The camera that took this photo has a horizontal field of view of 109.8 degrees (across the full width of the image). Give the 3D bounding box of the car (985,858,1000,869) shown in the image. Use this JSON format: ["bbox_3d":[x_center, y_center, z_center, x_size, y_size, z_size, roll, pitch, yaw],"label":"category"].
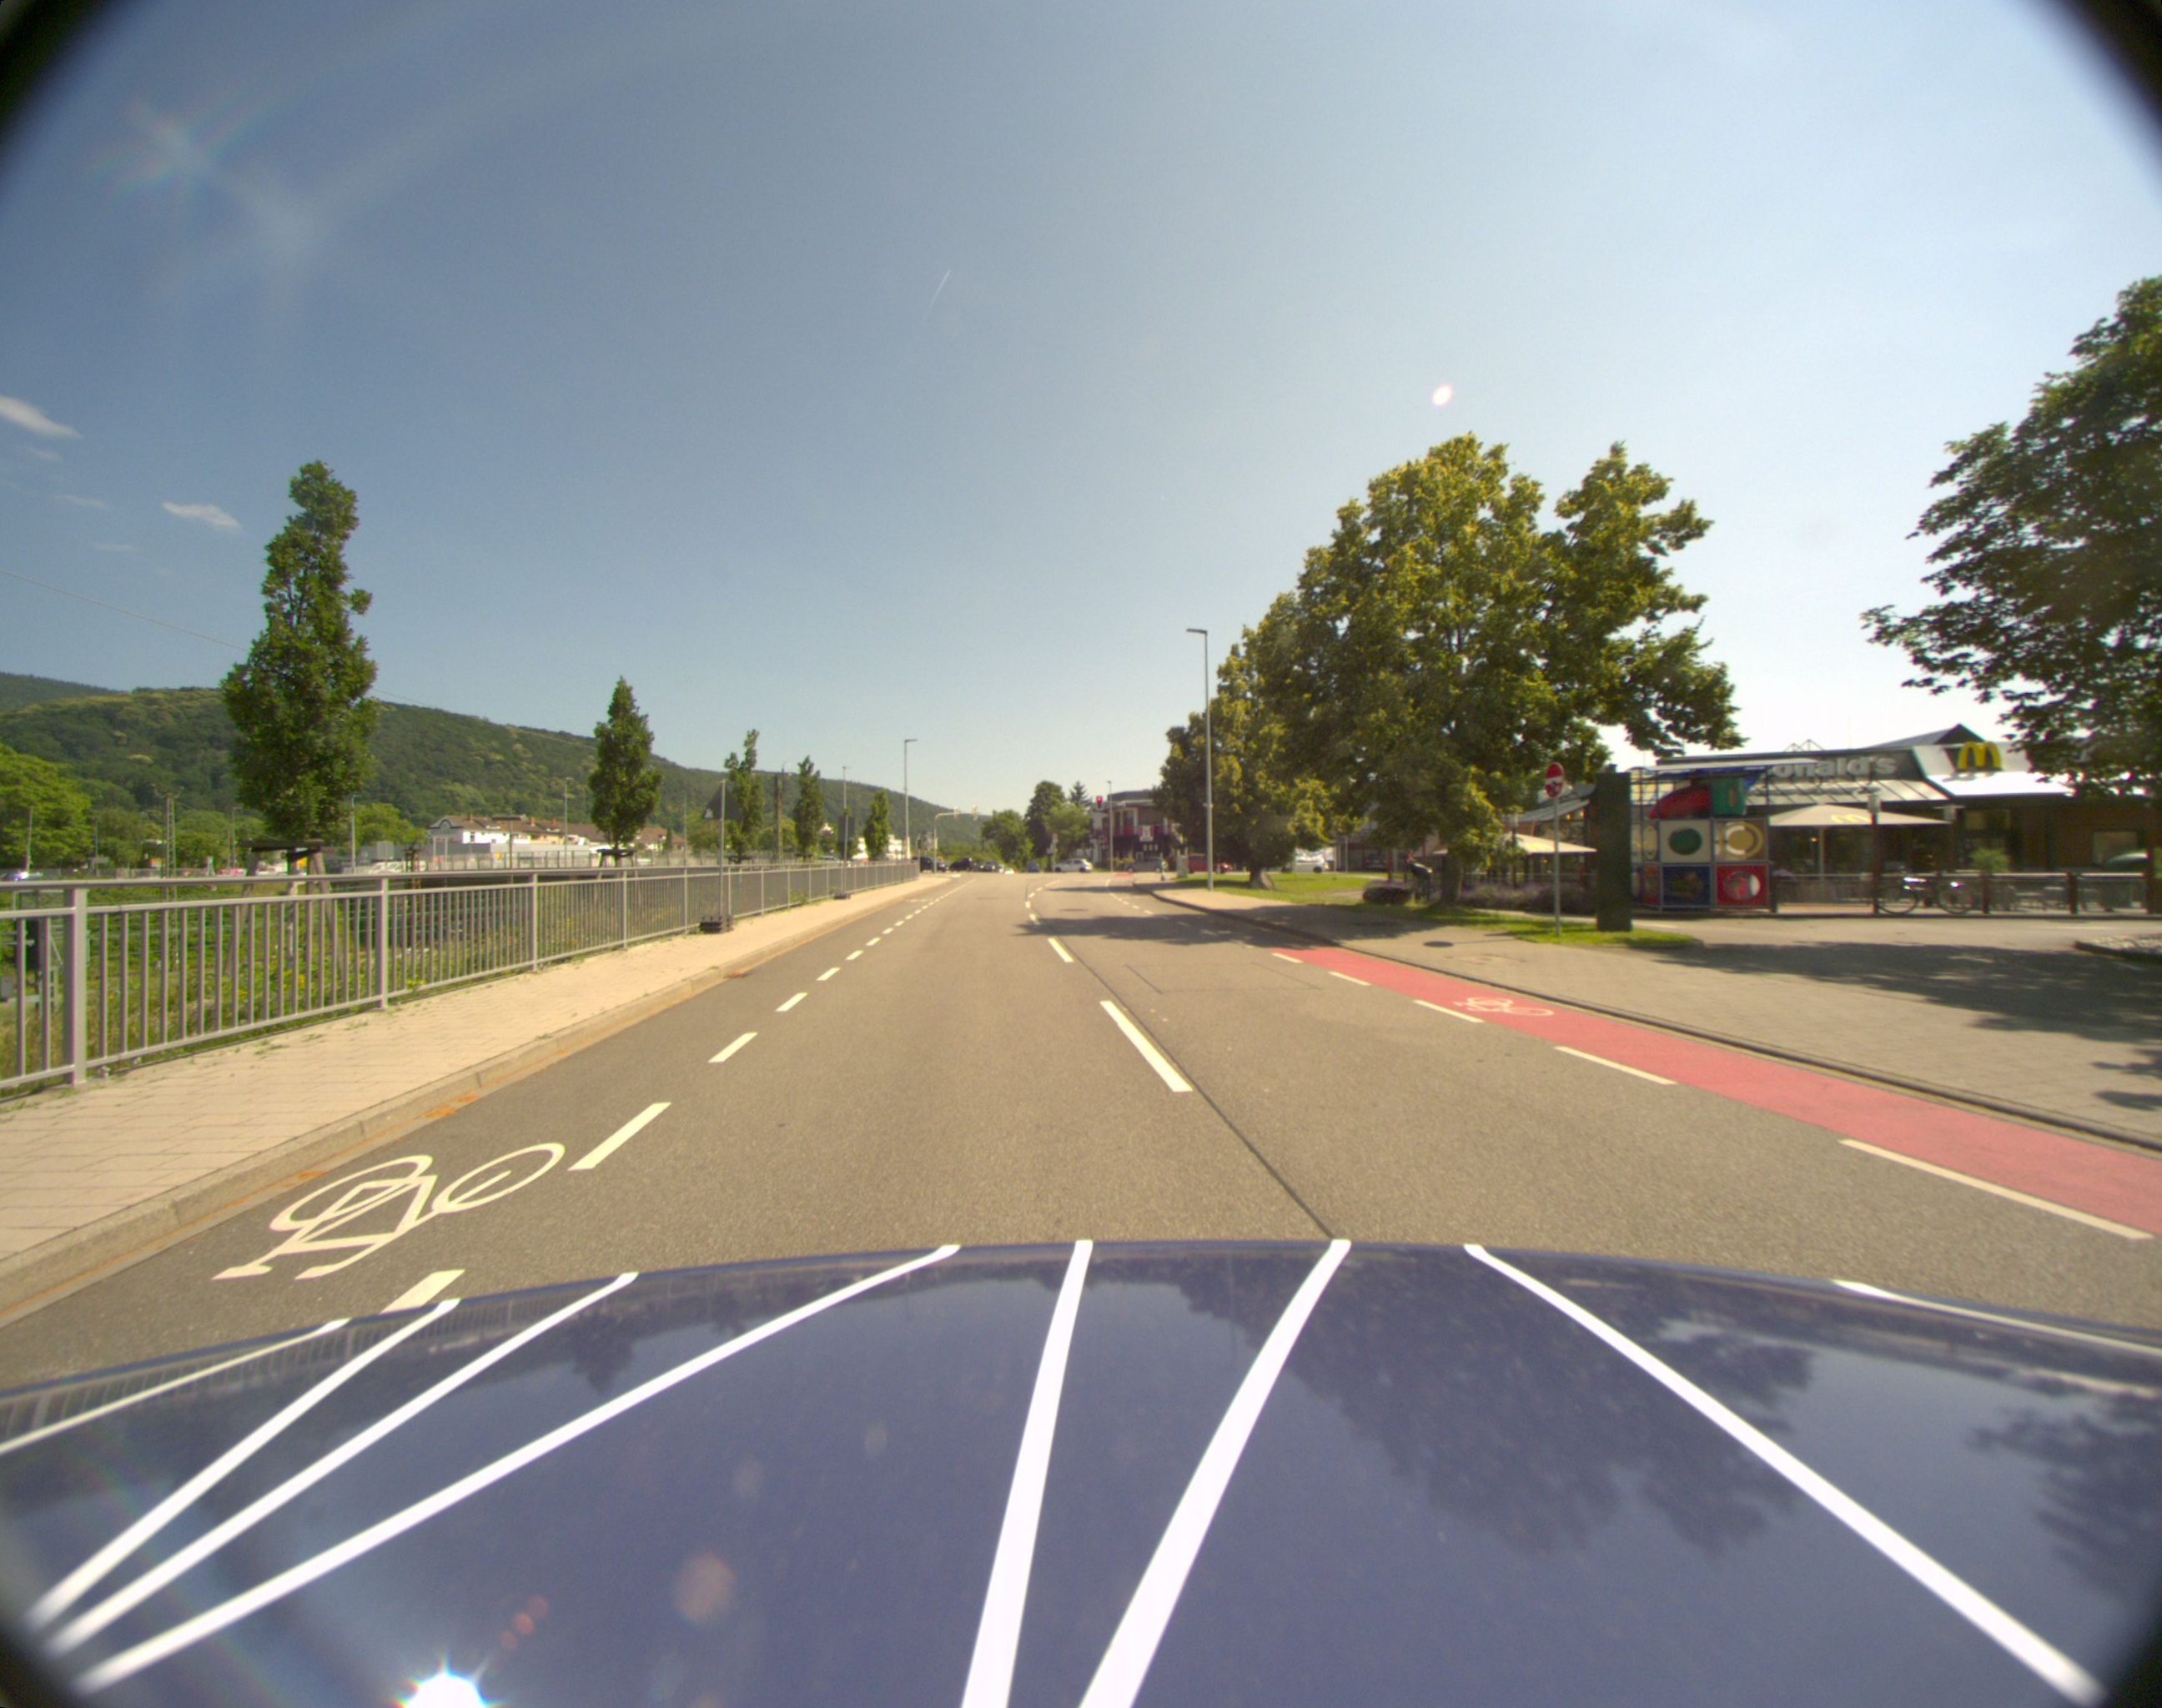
[{"bbox_3d":[-10.442,1.092,89.220,1.611,1.248,3.679,0,0,-9],"label":"car"}]

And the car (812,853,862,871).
[{"bbox_3d":[-24.853,0.816,77.459,4.756,1.643,1.834,0,3,23],"label":"car"}]

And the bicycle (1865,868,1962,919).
[{"bbox_3d":[20.334,0.973,18.577,1.609,1.180,0.310,-3,2,22],"label":"bicycle"}]

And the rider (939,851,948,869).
[{"bbox_3d":[-14.703,0.644,81.155,0.684,1.804,0.548,0,4,19],"label":"rider"}]

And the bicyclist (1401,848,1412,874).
[{"bbox_3d":[23.716,0.481,55.359,0.655,1.886,0.553,0,3,20],"label":"bicyclist"}]

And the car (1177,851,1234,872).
[{"bbox_3d":[10.333,0.623,62.925,4.361,1.670,1.833,-1,3,18],"label":"car"}]

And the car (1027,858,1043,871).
[{"bbox_3d":[-5.944,1.358,97.472,1.611,1.527,3.679,0,0,-9],"label":"car"}]

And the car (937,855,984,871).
[{"bbox_3d":[-12.194,0.954,76.882,4.361,1.483,1.833,0,3,20],"label":"car"}]

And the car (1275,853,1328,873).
[{"bbox_3d":[19.306,0.821,66.483,4.361,1.618,1.833,0,3,19],"label":"car"}]

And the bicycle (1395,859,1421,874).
[{"bbox_3d":[23.836,0.930,55.348,1.722,1.037,0.583,0,3,20],"label":"bicycle"}]

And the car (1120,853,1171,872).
[{"bbox_3d":[5.997,0.787,70.887,4.361,1.618,1.833,0,3,19],"label":"car"}]

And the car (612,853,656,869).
[{"bbox_3d":[-50.287,0.740,85.505,4.570,1.643,1.834,0,3,22],"label":"car"}]

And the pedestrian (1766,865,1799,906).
[{"bbox_3d":[21.826,0.985,23.650,0.551,1.203,0.593,-5,2,26],"label":"pedestrian"}]

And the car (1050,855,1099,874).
[{"bbox_3d":[-0.613,1.013,73.316,4.361,1.618,1.833,0,3,20],"label":"car"}]

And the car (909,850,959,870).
[{"bbox_3d":[-14.239,0.603,73.576,4.360,1.839,1.833,0,3,21],"label":"car"}]
